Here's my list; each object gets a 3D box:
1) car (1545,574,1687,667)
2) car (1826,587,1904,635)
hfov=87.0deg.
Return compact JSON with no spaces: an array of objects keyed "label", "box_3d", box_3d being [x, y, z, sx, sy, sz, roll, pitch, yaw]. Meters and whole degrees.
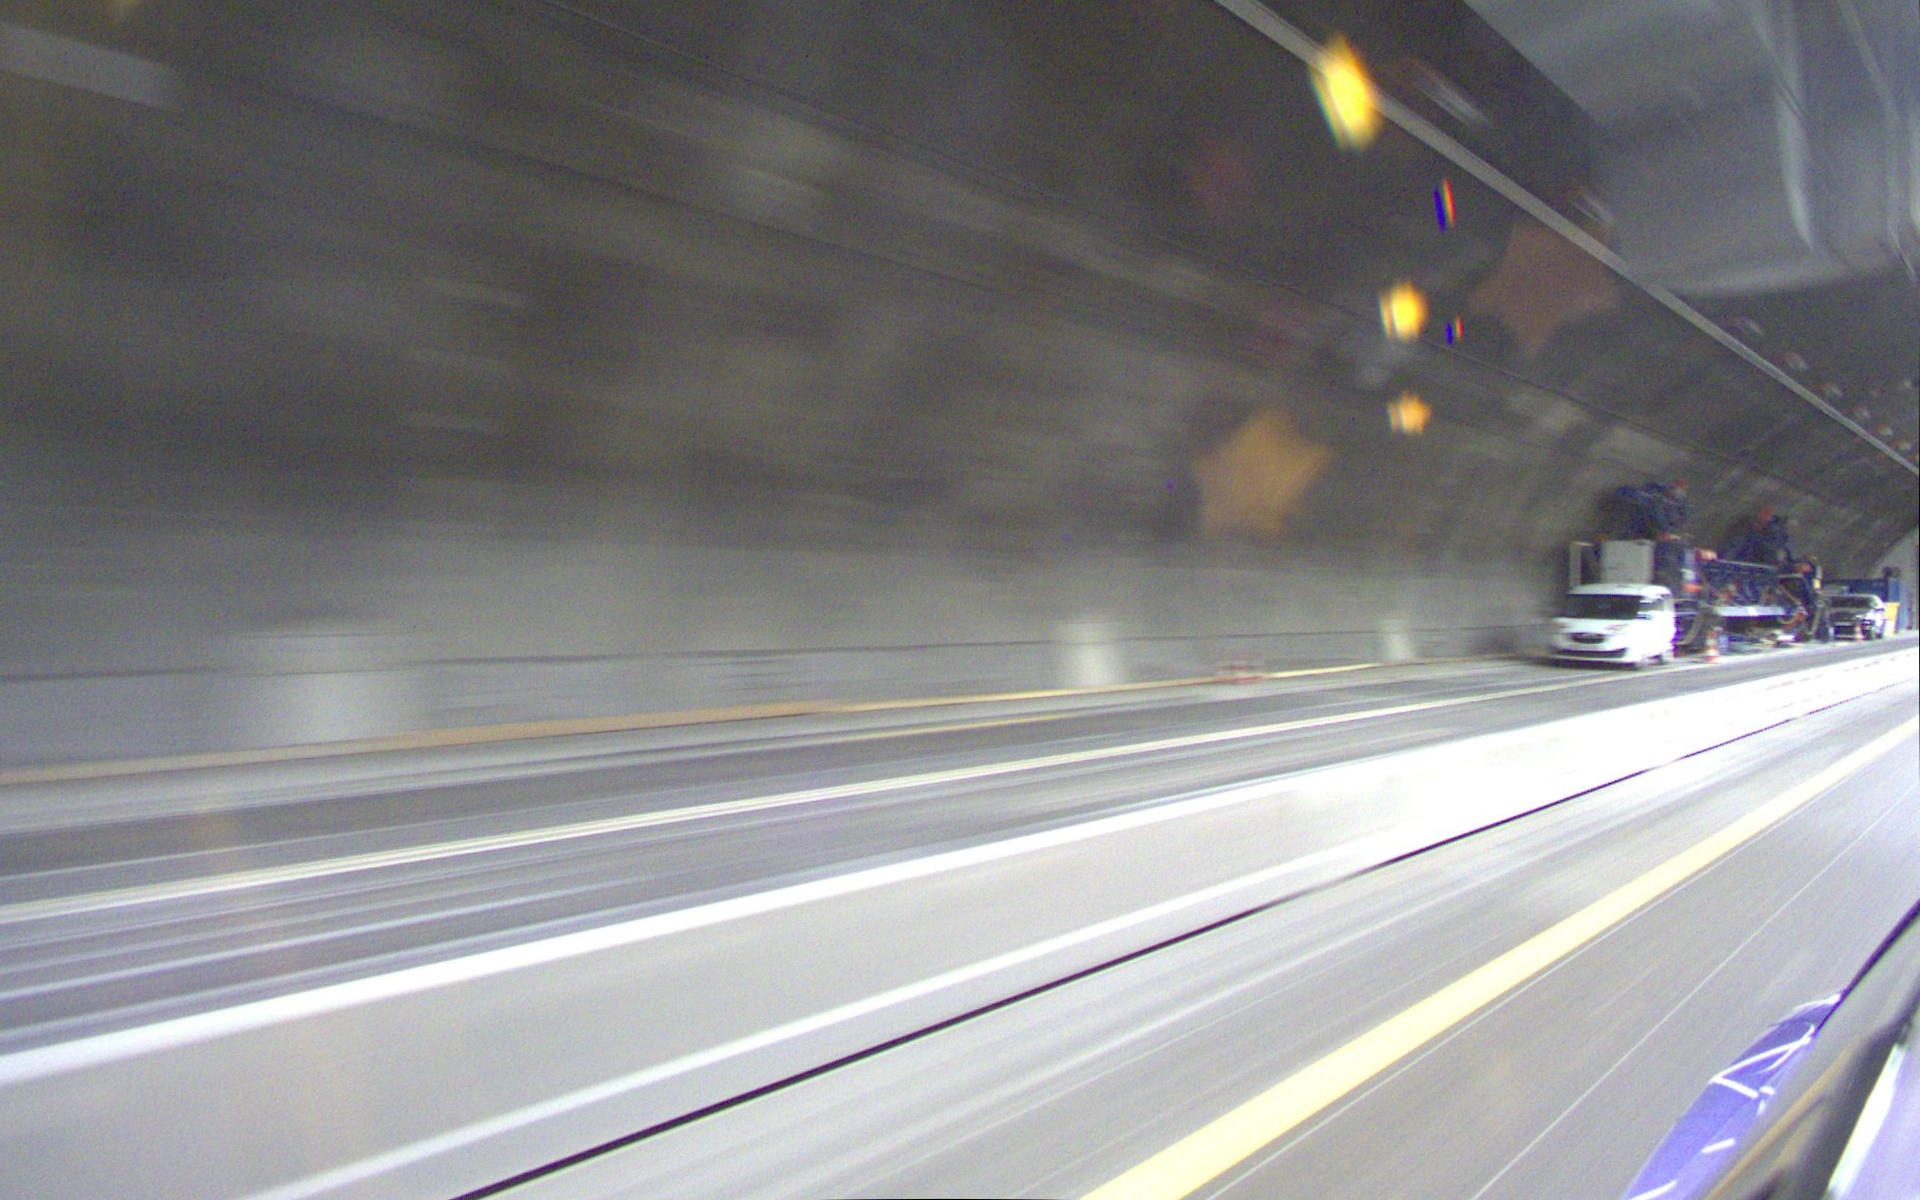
[{"label":"car","box_3d":[14.729,0.386,22.608,1.752,1.868,4.570,1,1,45]},{"label":"car","box_3d":[37.254,0.436,41.609,5.348,1.882,1.830,0,-1,-42]}]
